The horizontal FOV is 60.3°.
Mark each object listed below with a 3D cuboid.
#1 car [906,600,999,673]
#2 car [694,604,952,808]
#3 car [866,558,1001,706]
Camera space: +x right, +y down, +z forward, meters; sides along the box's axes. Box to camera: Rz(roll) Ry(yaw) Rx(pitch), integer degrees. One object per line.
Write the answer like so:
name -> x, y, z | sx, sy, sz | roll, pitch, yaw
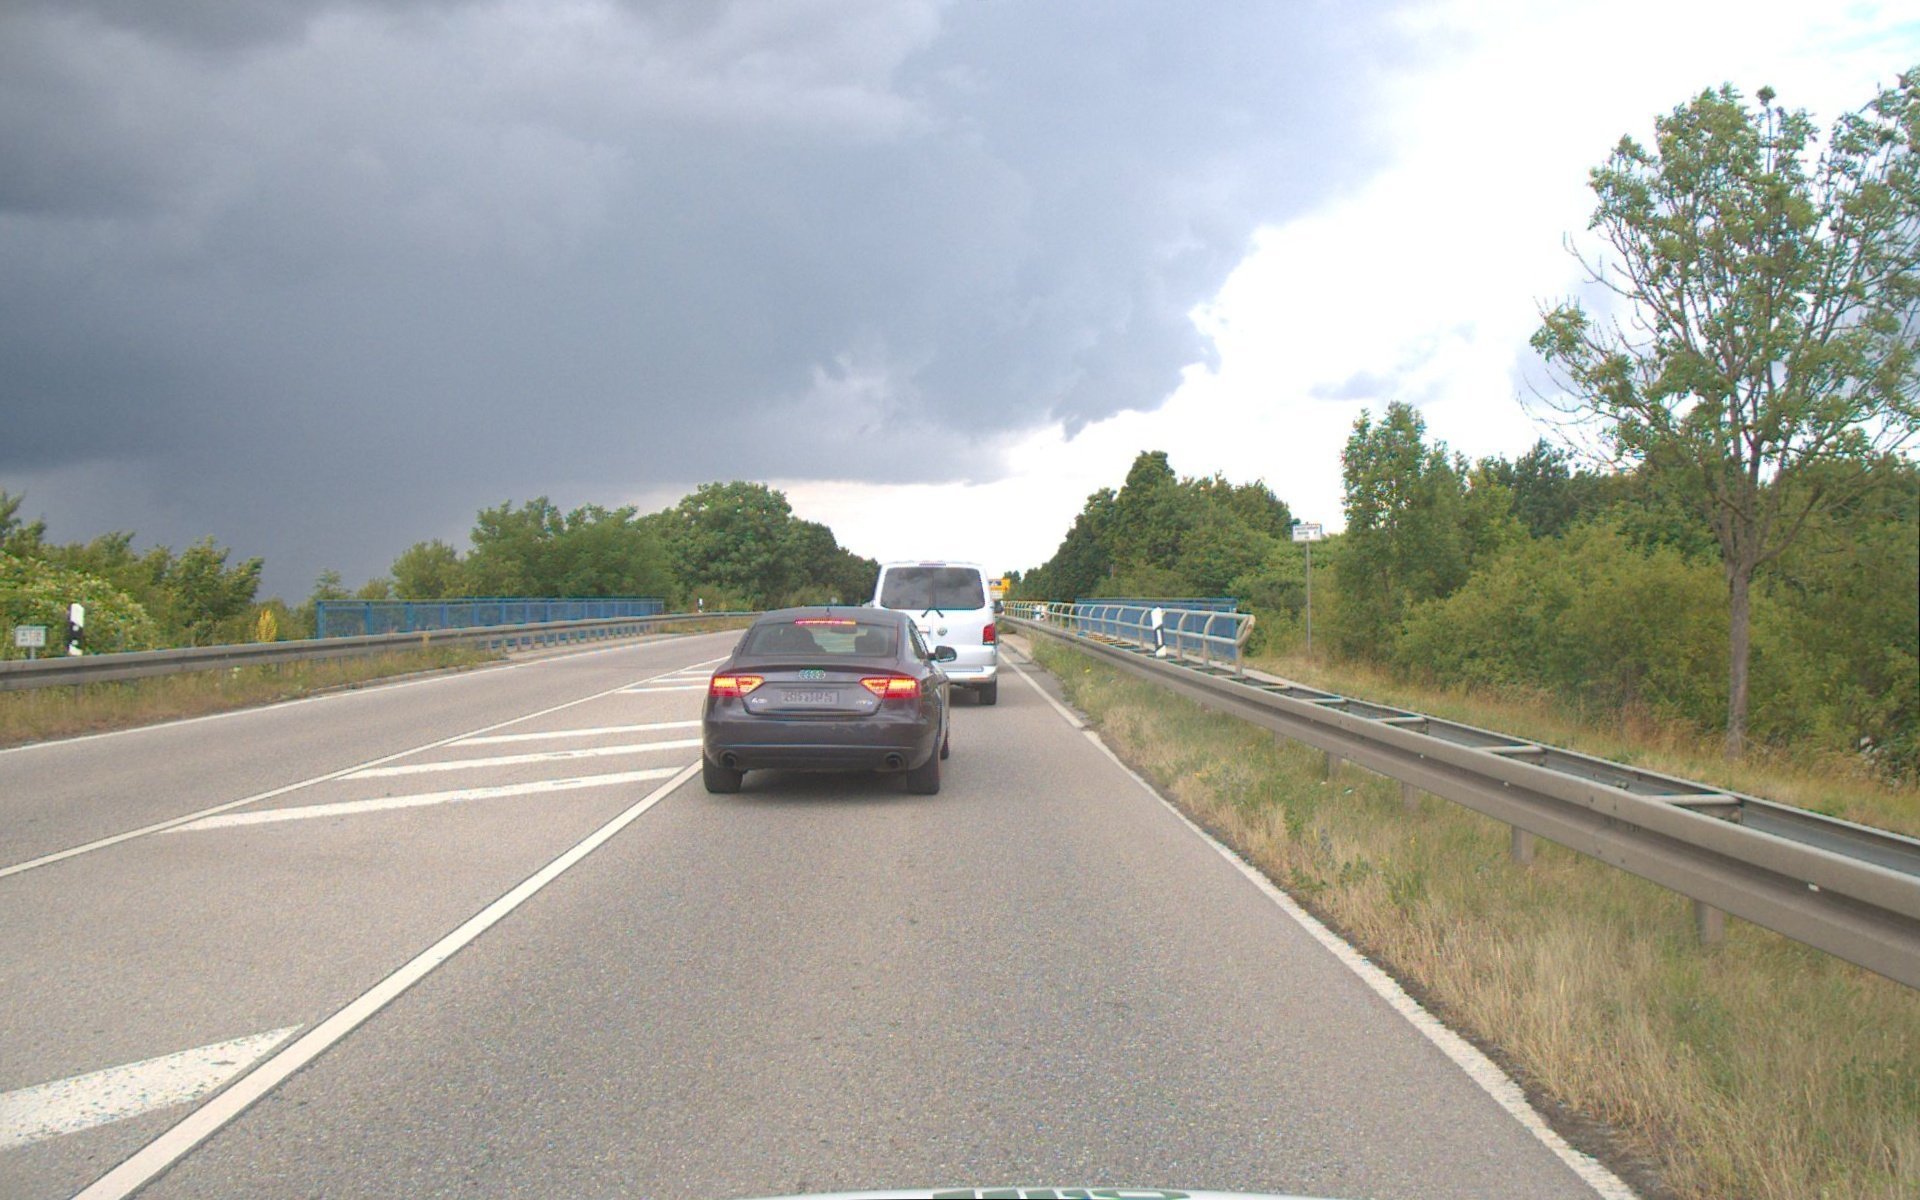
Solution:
car -> -0.130, 0.710, 34.050 | 1.784, 1.405, 4.072 | 0, 0, 0
car -> -0.960, 0.741, 13.533 | 1.784, 1.405, 4.071 | 0, 0, 0
car -> -0.383, 0.435, 24.225 | 1.791, 1.969, 3.999 | 0, 0, -1
